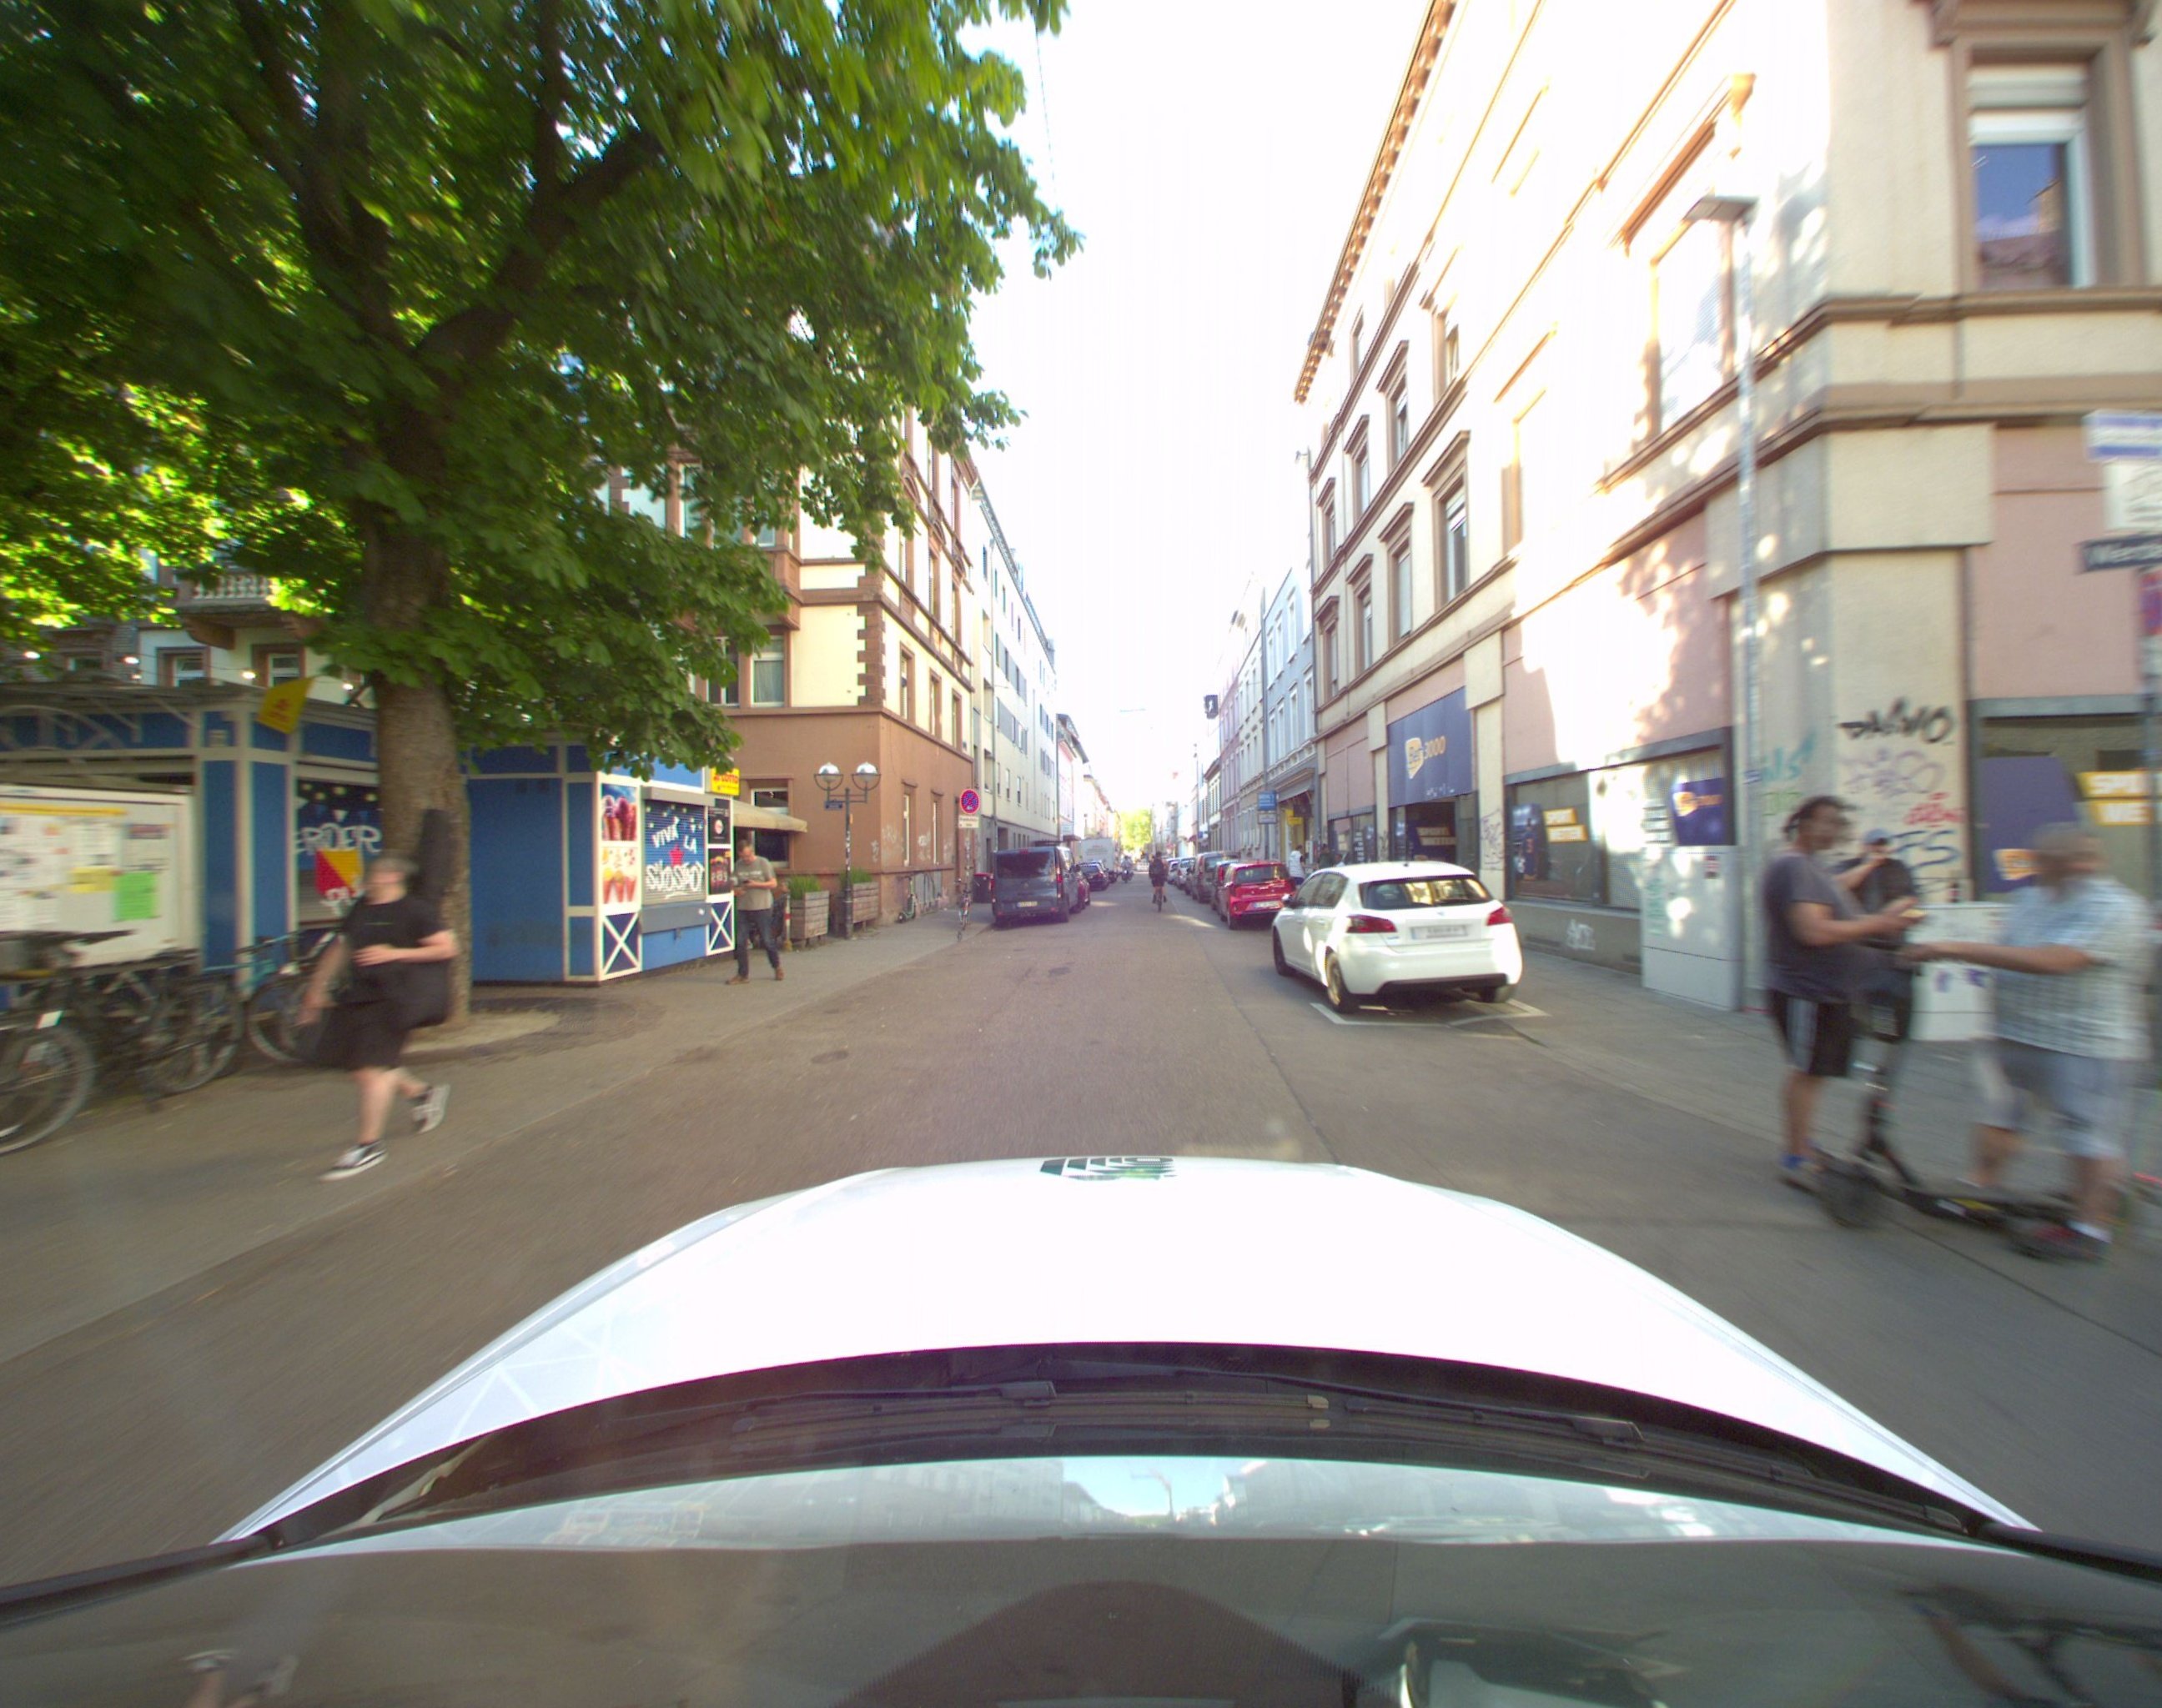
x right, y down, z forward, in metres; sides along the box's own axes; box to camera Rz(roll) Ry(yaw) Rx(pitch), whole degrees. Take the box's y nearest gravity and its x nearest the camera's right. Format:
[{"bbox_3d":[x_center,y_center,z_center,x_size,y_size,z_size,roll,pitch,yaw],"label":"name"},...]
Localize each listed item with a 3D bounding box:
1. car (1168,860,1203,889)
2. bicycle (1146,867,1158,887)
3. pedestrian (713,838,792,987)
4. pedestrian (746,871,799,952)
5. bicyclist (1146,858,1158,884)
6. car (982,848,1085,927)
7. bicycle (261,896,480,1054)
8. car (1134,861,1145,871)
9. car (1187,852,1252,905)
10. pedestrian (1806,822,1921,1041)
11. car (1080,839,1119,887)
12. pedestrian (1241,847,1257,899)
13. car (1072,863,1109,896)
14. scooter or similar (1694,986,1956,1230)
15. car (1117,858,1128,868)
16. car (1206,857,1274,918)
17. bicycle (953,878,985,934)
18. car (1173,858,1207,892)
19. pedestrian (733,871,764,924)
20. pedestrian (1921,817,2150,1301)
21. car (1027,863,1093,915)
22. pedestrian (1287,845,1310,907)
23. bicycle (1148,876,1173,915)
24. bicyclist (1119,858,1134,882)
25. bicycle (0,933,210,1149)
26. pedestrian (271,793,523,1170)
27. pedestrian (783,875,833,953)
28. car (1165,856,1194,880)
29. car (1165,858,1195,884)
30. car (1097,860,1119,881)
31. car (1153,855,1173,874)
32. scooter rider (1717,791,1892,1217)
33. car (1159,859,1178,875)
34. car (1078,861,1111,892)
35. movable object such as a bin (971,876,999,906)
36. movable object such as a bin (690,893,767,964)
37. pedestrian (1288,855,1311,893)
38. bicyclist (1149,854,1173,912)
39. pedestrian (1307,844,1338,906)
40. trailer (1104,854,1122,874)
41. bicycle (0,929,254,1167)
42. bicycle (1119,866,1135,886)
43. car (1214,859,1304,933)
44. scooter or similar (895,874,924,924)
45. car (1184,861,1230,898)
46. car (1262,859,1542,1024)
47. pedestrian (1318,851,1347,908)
[{"bbox_3d":[6.132,1.206,48.141,1.689,1.543,4.633,-3,-1,3],"label":"car"},{"bbox_3d":[4.201,1.370,48.414,0.646,1.129,2.138,0,-1,4],"label":"bicycle"},{"bbox_3d":[-4.180,0.724,10.413,0.644,1.834,0.698,1,-1,3],"label":"pedestrian"},{"bbox_3d":[-5.640,1.040,14.925,0.703,1.445,0.617,0,-1,2],"label":"pedestrian"},{"bbox_3d":[4.199,1.002,48.368,0.668,1.567,0.717,0,-1,2],"label":"bicyclist"},{"bbox_3d":[-1.130,0.808,22.200,2.011,1.879,5.304,0,0,5],"label":"car"},{"bbox_3d":[-6.338,1.004,7.425,0.497,1.131,2.031,0,0,-10],"label":"bicycle"},{"bbox_3d":[8.596,1.779,119.806,1.604,1.560,3.613,0,-1,4],"label":"car"},{"bbox_3d":[5.027,0.863,30.055,1.891,1.793,4.319,0,-1,3],"label":"car"},{"bbox_3d":[6.234,0.582,6.513,0.593,1.650,0.468,-1,2,35],"label":"pedestrian"},{"bbox_3d":[1.466,0.678,60.171,2.333,3.291,7.162,-3,-1,4],"label":"car"},{"bbox_3d":[5.567,0.637,27.032,0.439,1.704,0.655,0,-1,4],"label":"pedestrian"},{"bbox_3d":[0.547,1.327,43.685,1.709,1.478,4.503,-4,0,3],"label":"car"},{"bbox_3d":[3.320,1.088,3.719,0.392,0.828,0.927,0,-1,4],"label":"scooter or similar"},{"bbox_3d":[7.252,1.666,142.850,1.742,1.683,3.799,-2,-1,4],"label":"car"},{"bbox_3d":[4.595,0.944,23.930,1.562,1.557,3.319,-4,-1,6],"label":"car"},{"bbox_3d":[-2.678,1.195,19.296,0.551,1.216,1.979,1,-1,-13],"label":"bicycle"},{"bbox_3d":[5.741,1.112,43.262,1.550,1.712,3.561,0,-1,3],"label":"car"},{"bbox_3d":[-7.661,0.997,18.782,0.441,1.186,0.421,4,-2,4],"label":"pedestrian"},{"bbox_3d":[3.658,0.700,3.159,0.568,1.638,0.522,1,-2,-42],"label":"pedestrian"},{"bbox_3d":[-0.616,1.122,27.310,1.743,1.522,3.873,-4,-1,4],"label":"car"},{"bbox_3d":[6.174,0.634,23.101,0.558,1.740,0.428,0,-1,2],"label":"pedestrian"},{"bbox_3d":[2.355,1.218,24.203,0.674,1.074,1.943,0,-1,3],"label":"bicycle"},{"bbox_3d":[3.154,1.113,56.760,0.946,1.628,0.954,-3,-1,4],"label":"bicyclist"},{"bbox_3d":[-5.909,1.054,4.555,0.291,1.046,1.580,0,1,4],"label":"bicycle"},{"bbox_3d":[-3.668,0.636,4.434,0.713,1.873,0.721,0,-1,3],"label":"pedestrian"},{"bbox_3d":[-5.179,1.117,15.478,0.703,1.445,0.617,0,-1,2],"label":"pedestrian"},{"bbox_3d":[7.528,1.042,62.451,1.910,1.706,4.370,-1,0,3],"label":"car"},{"bbox_3d":[6.530,1.111,54.093,1.679,1.543,4.049,-3,-1,3],"label":"car"},{"bbox_3d":[2.487,1.517,74.205,1.745,1.816,4.081,-3,-1,3],"label":"car"},{"bbox_3d":[8.652,1.090,85.890,1.744,1.879,3.973,-2,-1,1],"label":"car"},{"bbox_3d":[3.356,0.630,3.825,0.558,1.778,0.615,-1,-1,39],"label":"scooter rider"},{"bbox_3d":[8.636,1.257,80.811,1.742,1.487,3.805,-2,-1,5],"label":"car"},{"bbox_3d":[0.852,1.345,49.535,1.709,1.650,4.249,-4,0,3],"label":"car"},{"bbox_3d":[-3.447,1.324,29.287,0.752,1.067,0.655,0,-1,23],"label":"movable object such as a bin"},{"bbox_3d":[-5.688,1.191,13.194,0.866,1.086,0.775,0,-1,4],"label":"movable object such as a bin"},{"bbox_3d":[7.163,0.665,26.694,0.525,1.222,0.517,-1,-2,43],"label":"pedestrian"},{"bbox_3d":[2.357,0.837,24.192,0.665,1.677,1.098,0,-1,3],"label":"bicyclist"},{"bbox_3d":[6.854,0.602,23.160,0.628,1.740,0.657,0,-1,-9],"label":"pedestrian"},{"bbox_3d":[3.533,1.094,89.552,1.874,2.092,3.740,-2,-1,4],"label":"trailer"},{"bbox_3d":[-5.573,1.037,4.509,0.291,1.082,1.580,0,0,4],"label":"bicycle"},{"bbox_3d":[3.228,1.553,57.129,0.973,1.314,2.559,-2,0,5],"label":"bicycle"},{"bbox_3d":[4.133,0.931,19.372,1.599,1.572,3.557,0,-1,4],"label":"car"},{"bbox_3d":[-4.340,1.130,20.687,0.346,1.216,1.393,0,-1,3],"label":"scooter or similar"},{"bbox_3d":[5.390,1.085,35.182,1.547,1.511,3.612,0,-1,1],"label":"car"},{"bbox_3d":[3.432,0.842,9.612,1.780,1.516,4.138,0,-1,2],"label":"car"},{"bbox_3d":[6.885,0.701,22.345,0.585,1.530,0.658,0,-1,-2],"label":"pedestrian"}]
